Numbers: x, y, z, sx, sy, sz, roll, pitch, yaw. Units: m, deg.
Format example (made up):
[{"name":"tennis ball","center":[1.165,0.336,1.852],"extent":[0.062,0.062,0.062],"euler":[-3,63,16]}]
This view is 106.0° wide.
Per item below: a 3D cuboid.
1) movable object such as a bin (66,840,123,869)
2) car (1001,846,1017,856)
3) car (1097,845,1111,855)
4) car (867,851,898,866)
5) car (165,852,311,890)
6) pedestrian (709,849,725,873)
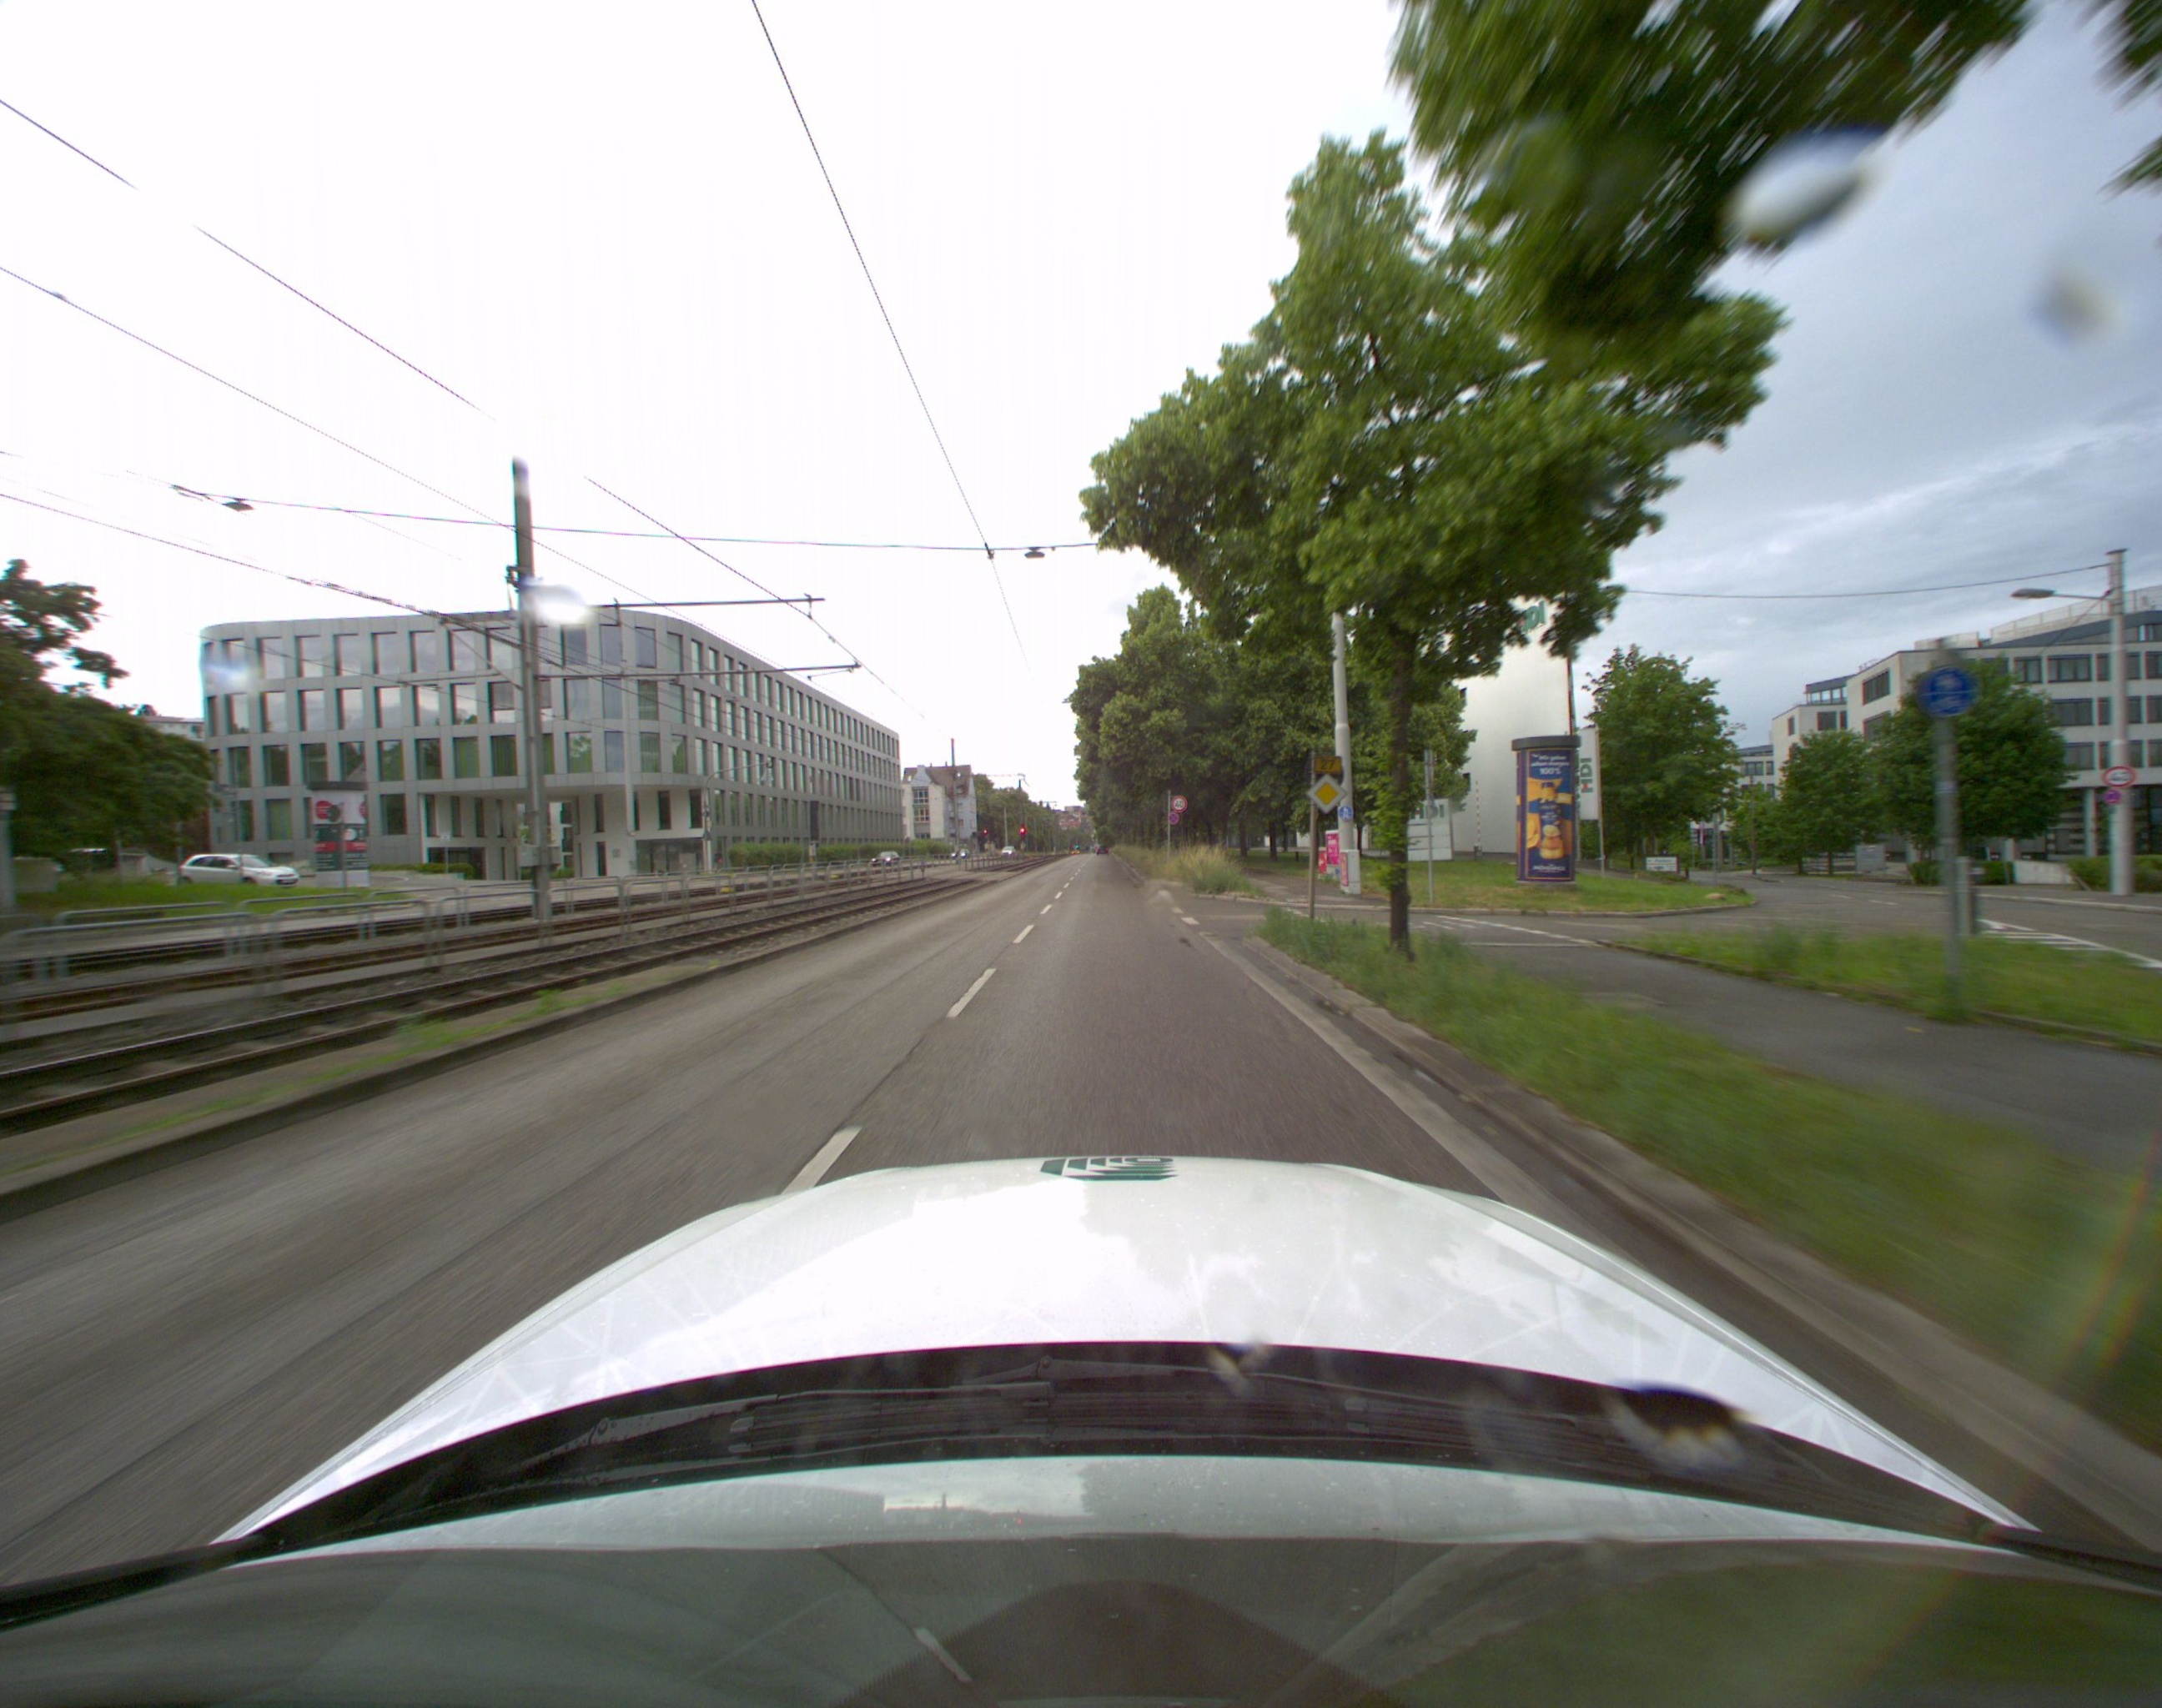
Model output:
[{"name":"movable object such as a bin","center":[-48.947,0.007,40.435],"extent":[1.266,1.395,1.270],"euler":[1,0,-6]},{"name":"car","center":[-11.700,-0.515,131.935],"extent":[1.894,1.644,4.888],"euler":[-2,1,3]},{"name":"car","center":[3.301,-0.588,118.176],"extent":[1.975,1.440,4.476],"euler":[-2,1,2]},{"name":"car","center":[-18.395,0.396,75.666],"extent":[1.750,1.244,3.989],"euler":[-2,1,2]},{"name":"car","center":[-34.383,0.685,33.307],"extent":[3.908,1.453,1.925],"euler":[1,0,-1]},{"name":"pedestrian","center":[-25.737,0.474,57.535],"extent":[0.721,1.647,0.846],"euler":[-1,0,2]}]
